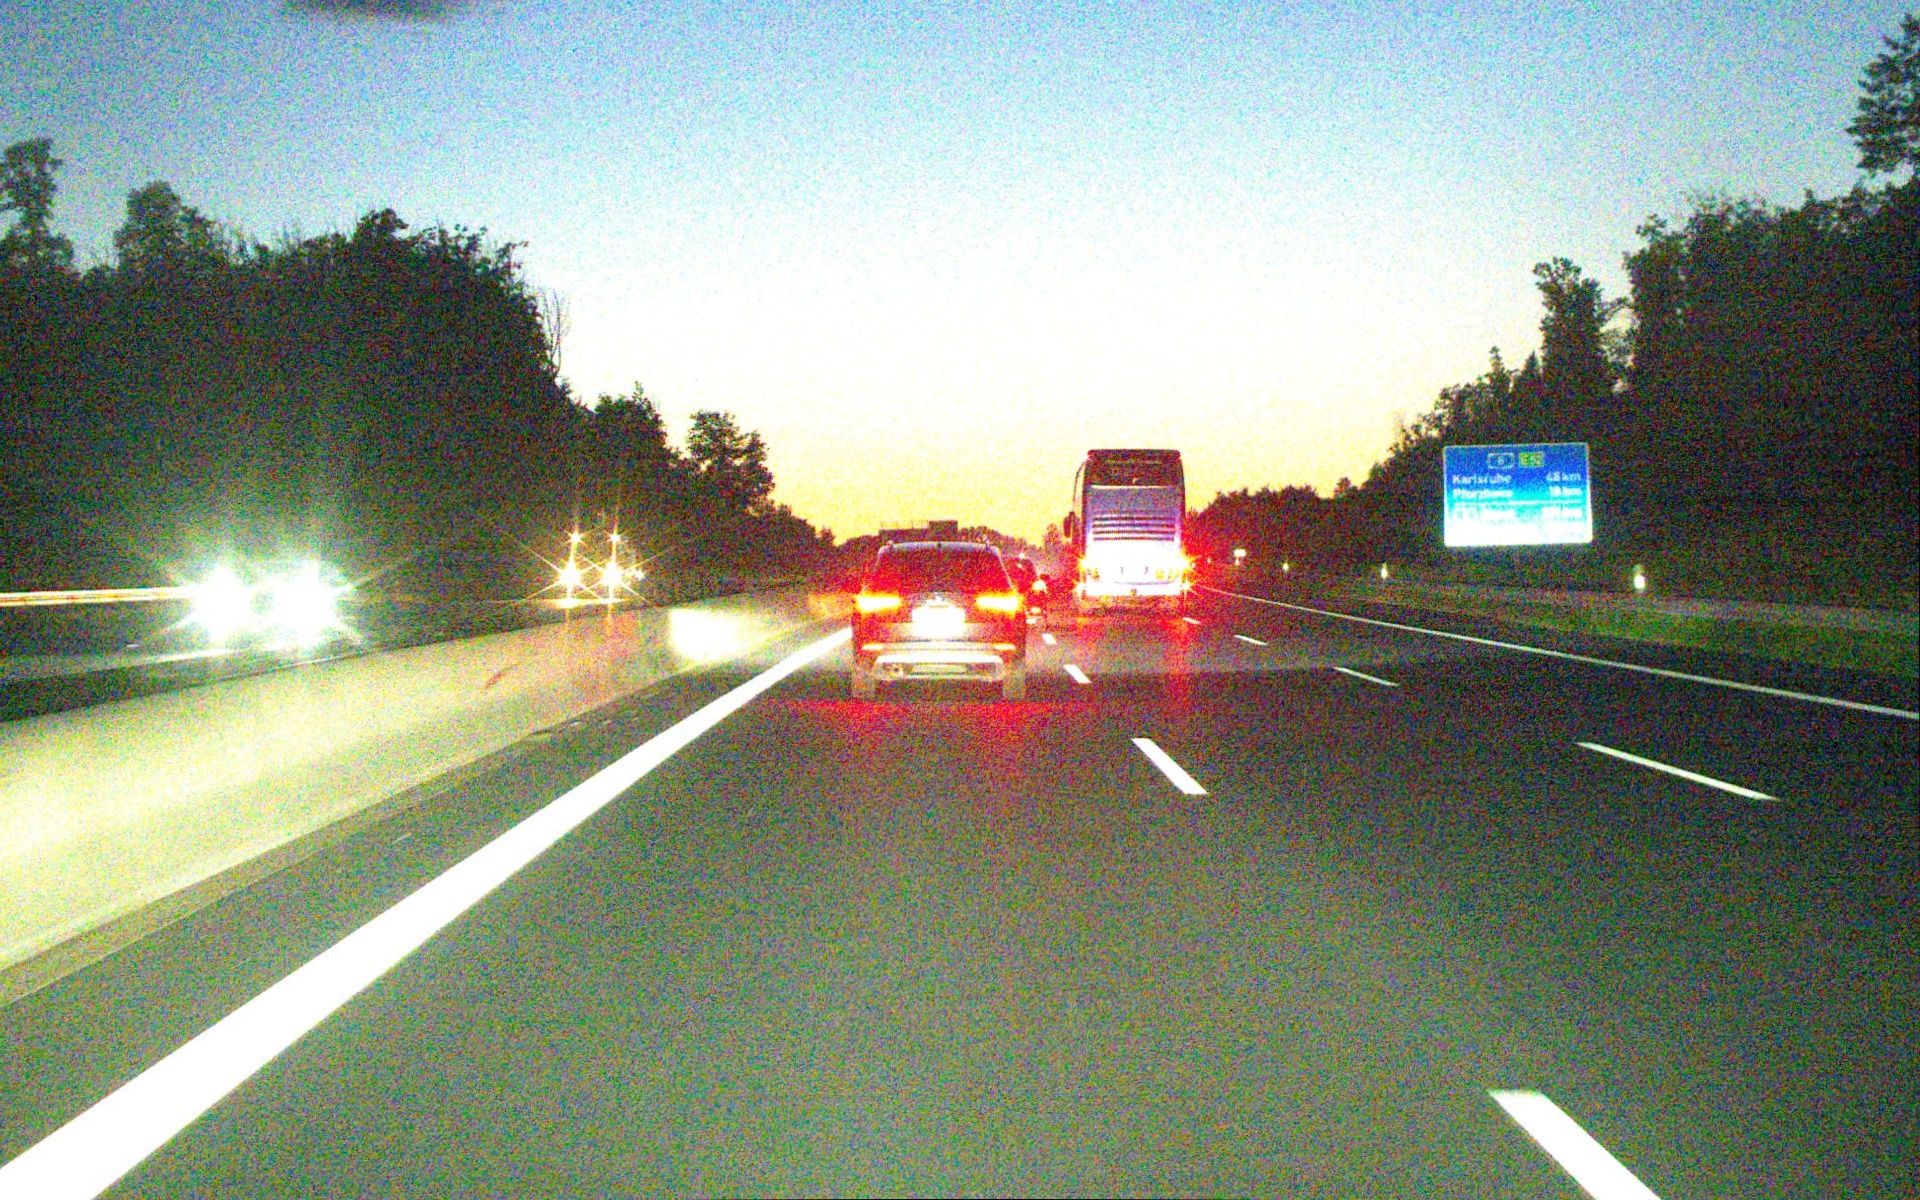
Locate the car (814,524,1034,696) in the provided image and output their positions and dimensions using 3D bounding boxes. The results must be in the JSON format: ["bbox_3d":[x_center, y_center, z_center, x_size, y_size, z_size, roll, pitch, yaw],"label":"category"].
[{"bbox_3d":[-0.366,0.109,35.740,2.105,1.612,4.204,-2,0,0],"label":"car"}]

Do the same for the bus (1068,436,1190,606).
[{"bbox_3d":[4.297,-1.892,90.100,2.652,3.980,14.701,-2,0,1],"label":"bus"}]

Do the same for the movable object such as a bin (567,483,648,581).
[{"bbox_3d":[-13.921,-2.685,136.151,2.293,3.756,7.686,0,1,1],"label":"movable object such as a bin"}]

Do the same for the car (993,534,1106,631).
[{"bbox_3d":[1.706,-0.319,66.793,1.911,1.724,4.000,3,0,-1],"label":"car"}]

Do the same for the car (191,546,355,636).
[{"bbox_3d":[-11.525,-0.181,57.948,1.933,1.448,4.454,0,1,-1],"label":"car"}]
